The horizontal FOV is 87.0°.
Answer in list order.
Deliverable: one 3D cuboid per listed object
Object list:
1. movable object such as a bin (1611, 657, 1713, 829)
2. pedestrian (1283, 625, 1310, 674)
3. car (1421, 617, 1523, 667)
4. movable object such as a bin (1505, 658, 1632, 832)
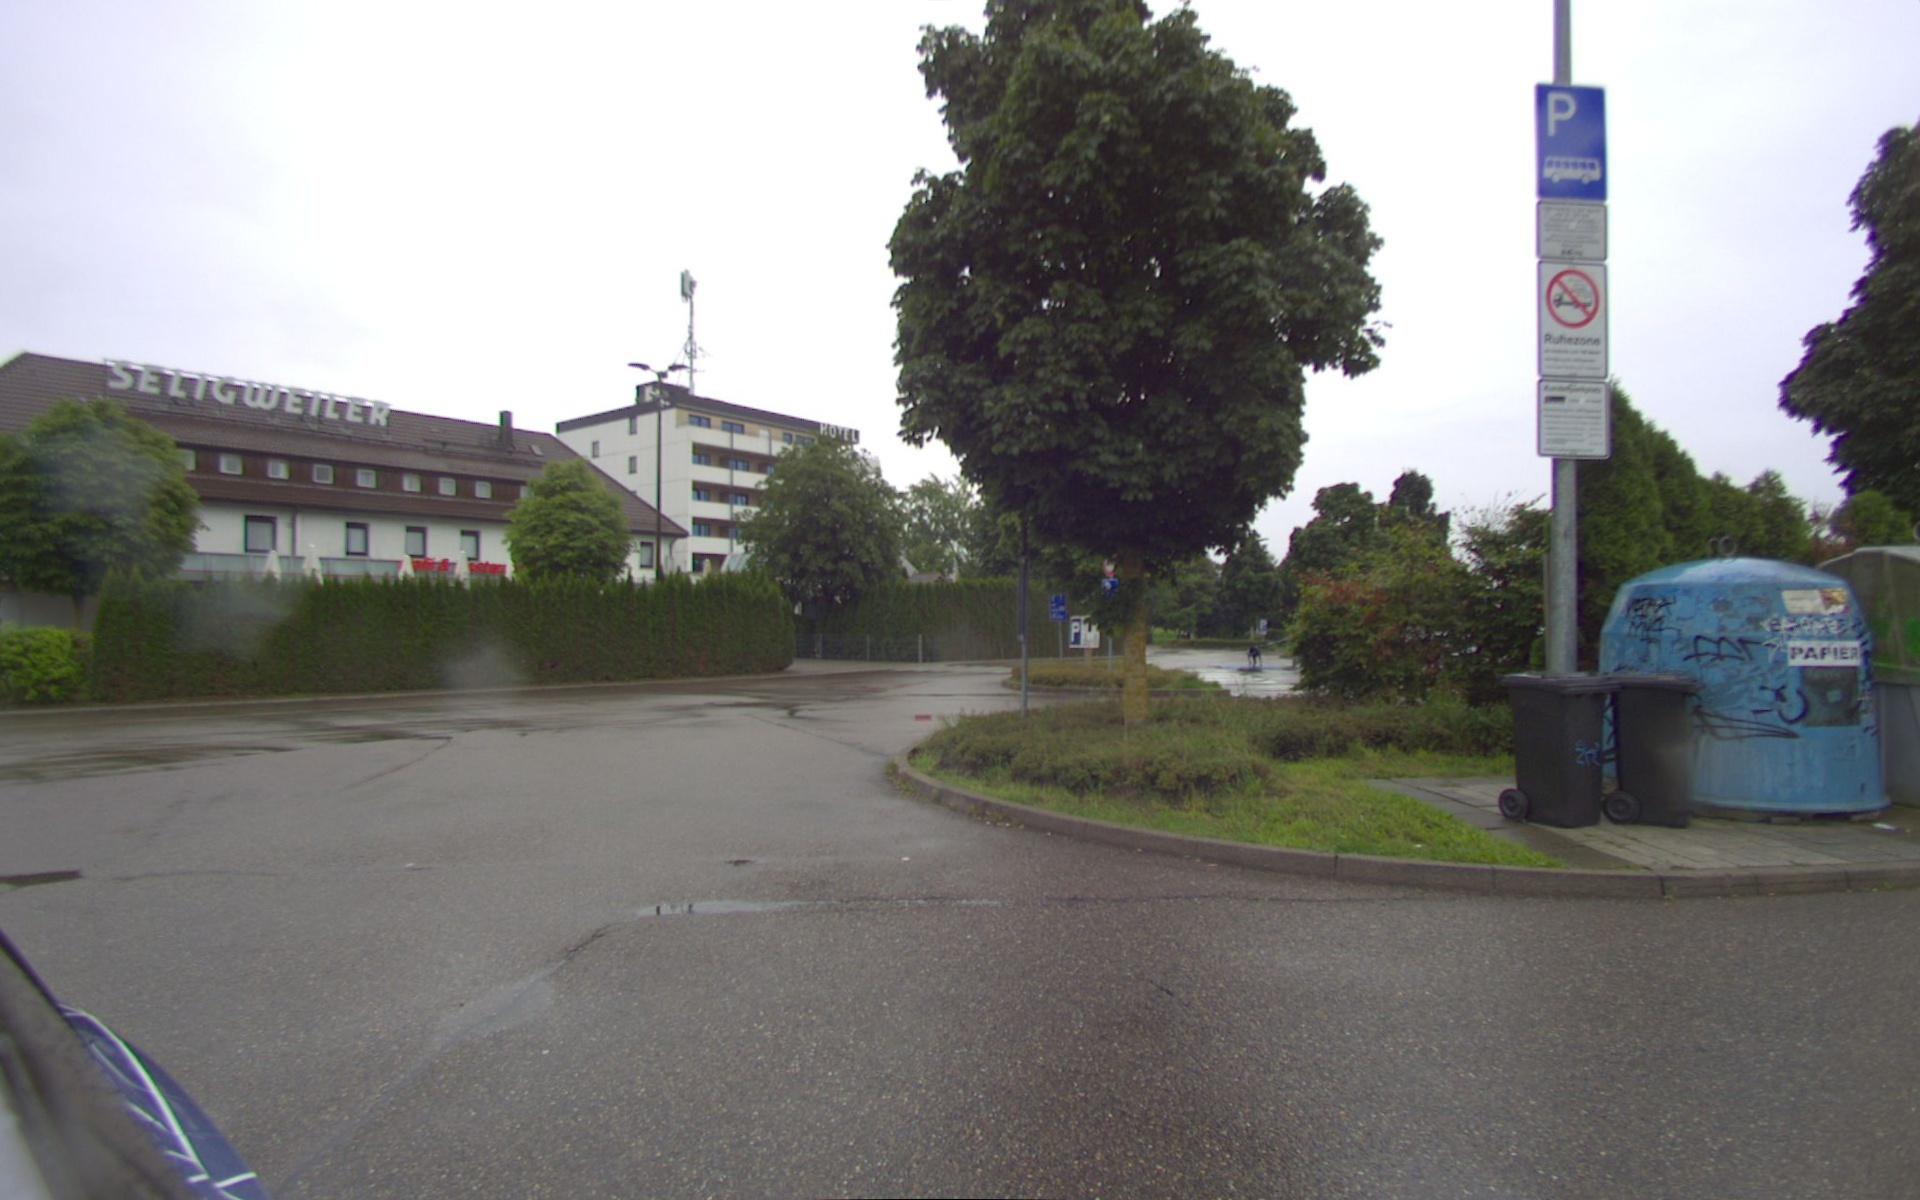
[{"bbox_3d":[4.233,0.838,6.104,0.450,0.956,0.400,-2,0,40],"label":"movable object such as a bin"},{"bbox_3d":[9.689,1.408,29.118,0.643,1.372,0.447,0,-2,32],"label":"pedestrian"},{"bbox_3d":[20.668,1.685,41.070,1.695,1.876,4.372,1,-2,-4],"label":"car"},{"bbox_3d":[3.658,0.846,6.097,0.427,0.956,0.475,-1,0,-25],"label":"movable object such as a bin"}]
